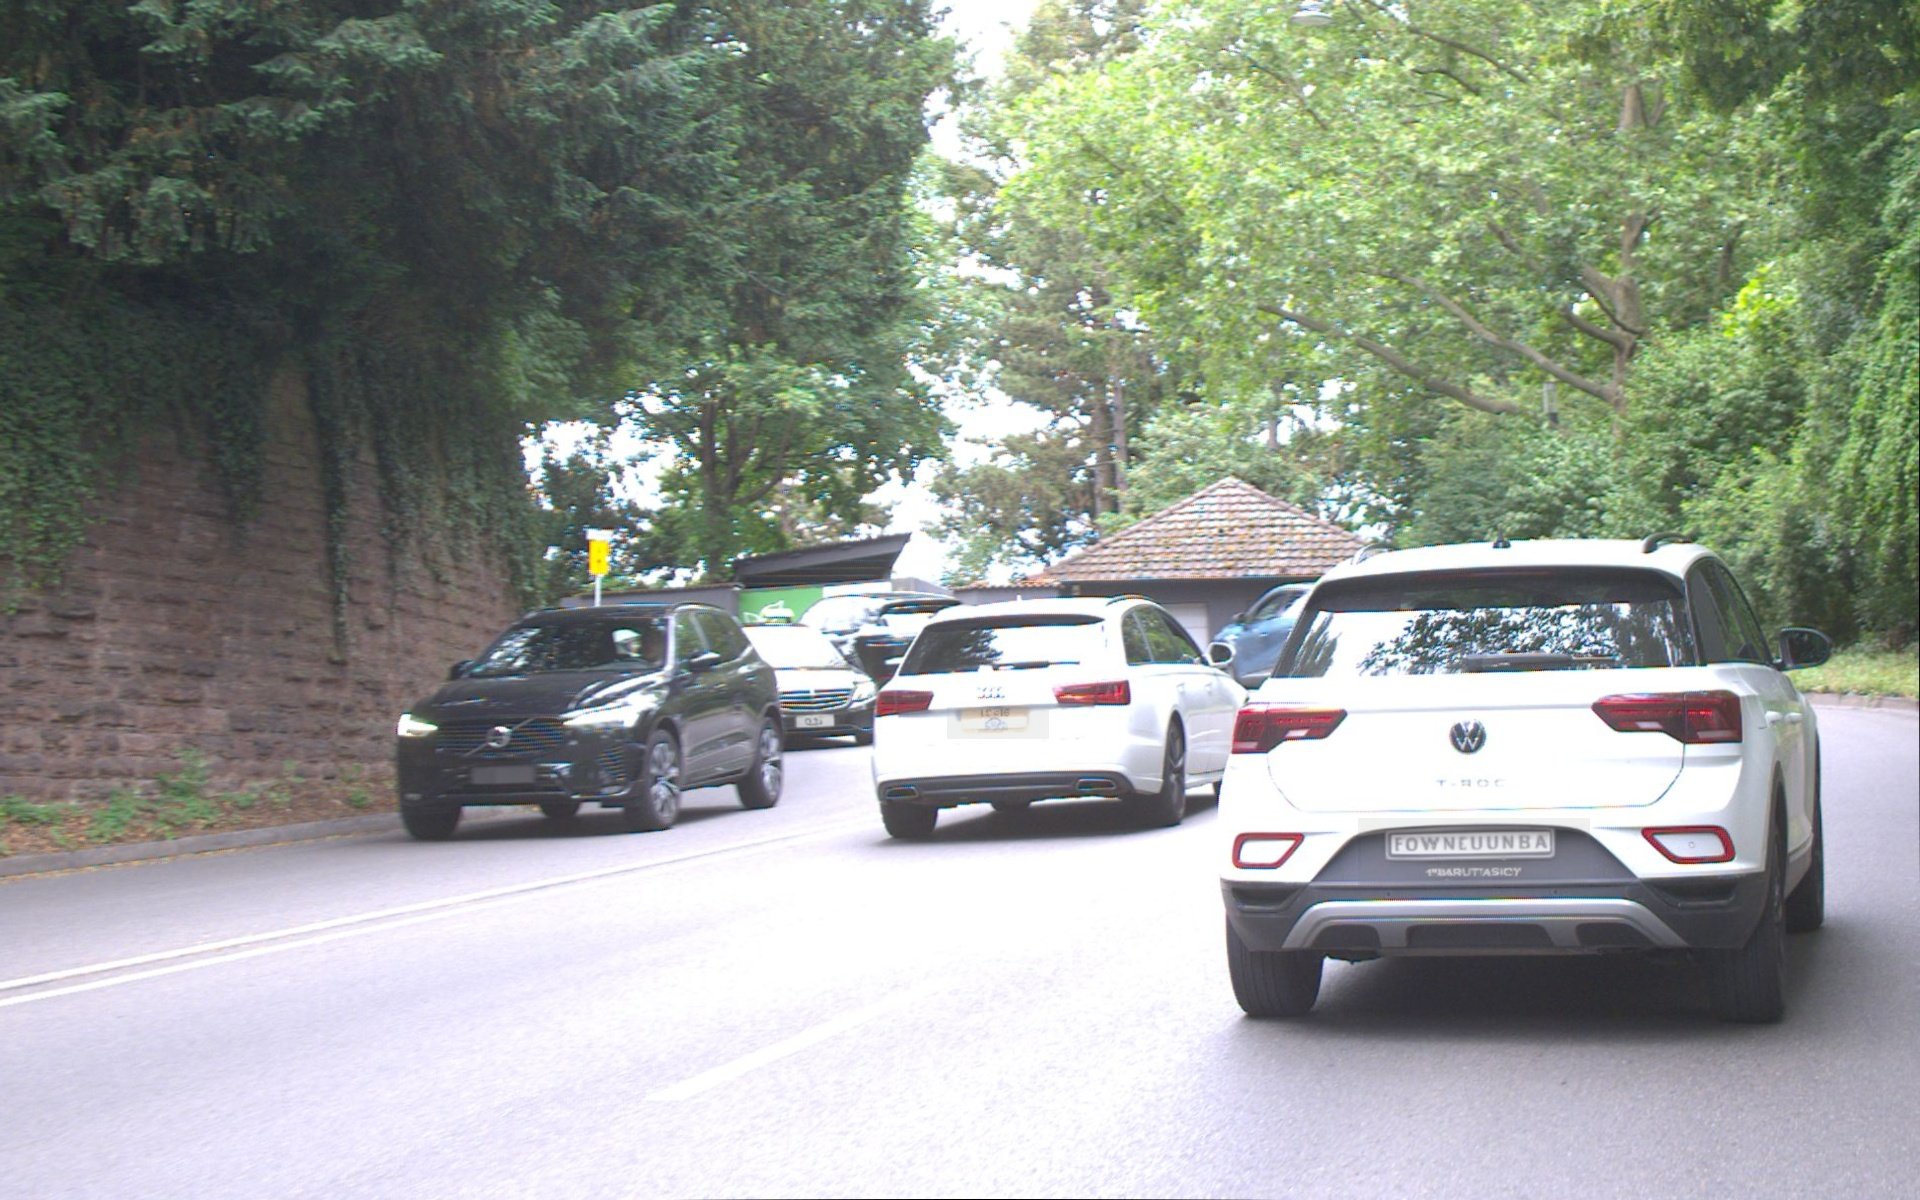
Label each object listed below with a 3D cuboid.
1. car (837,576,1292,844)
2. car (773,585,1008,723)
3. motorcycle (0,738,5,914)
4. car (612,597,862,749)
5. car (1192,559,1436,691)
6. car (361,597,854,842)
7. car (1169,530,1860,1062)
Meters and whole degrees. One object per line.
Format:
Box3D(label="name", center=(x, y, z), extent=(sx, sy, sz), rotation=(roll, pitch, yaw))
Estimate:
Box3D(label="car", center=(0.826, 0.659, 22.684), extent=(1.866, 1.529, 4.773), rotation=(-2, -1, 15))
Box3D(label="car", center=(-1.027, 0.772, 47.916), extent=(1.961, 1.758, 4.223), rotation=(-3, -1, -19))
Box3D(label="motorcycle", center=(-5.576, 1.143, 16.348), extent=(0.809, 0.886, 2.427), rotation=(-2, -1, 17))
Box3D(label="car", center=(-2.688, 0.865, 40.317), extent=(1.862, 1.592, 4.631), rotation=(-3, -1, -17))
Box3D(label="car", center=(4.421, 0.339, 43.523), extent=(1.669, 1.496, 4.024), rotation=(-3, 0, -15))
Box3D(label="car", center=(-2.493, 0.828, 25.583), extent=(1.851, 1.643, 4.506), rotation=(-2, -1, 20))
Box3D(label="car", center=(2.169, 0.557, 12.336), extent=(1.756, 1.547, 4.333), rotation=(-1, 0, 18))
